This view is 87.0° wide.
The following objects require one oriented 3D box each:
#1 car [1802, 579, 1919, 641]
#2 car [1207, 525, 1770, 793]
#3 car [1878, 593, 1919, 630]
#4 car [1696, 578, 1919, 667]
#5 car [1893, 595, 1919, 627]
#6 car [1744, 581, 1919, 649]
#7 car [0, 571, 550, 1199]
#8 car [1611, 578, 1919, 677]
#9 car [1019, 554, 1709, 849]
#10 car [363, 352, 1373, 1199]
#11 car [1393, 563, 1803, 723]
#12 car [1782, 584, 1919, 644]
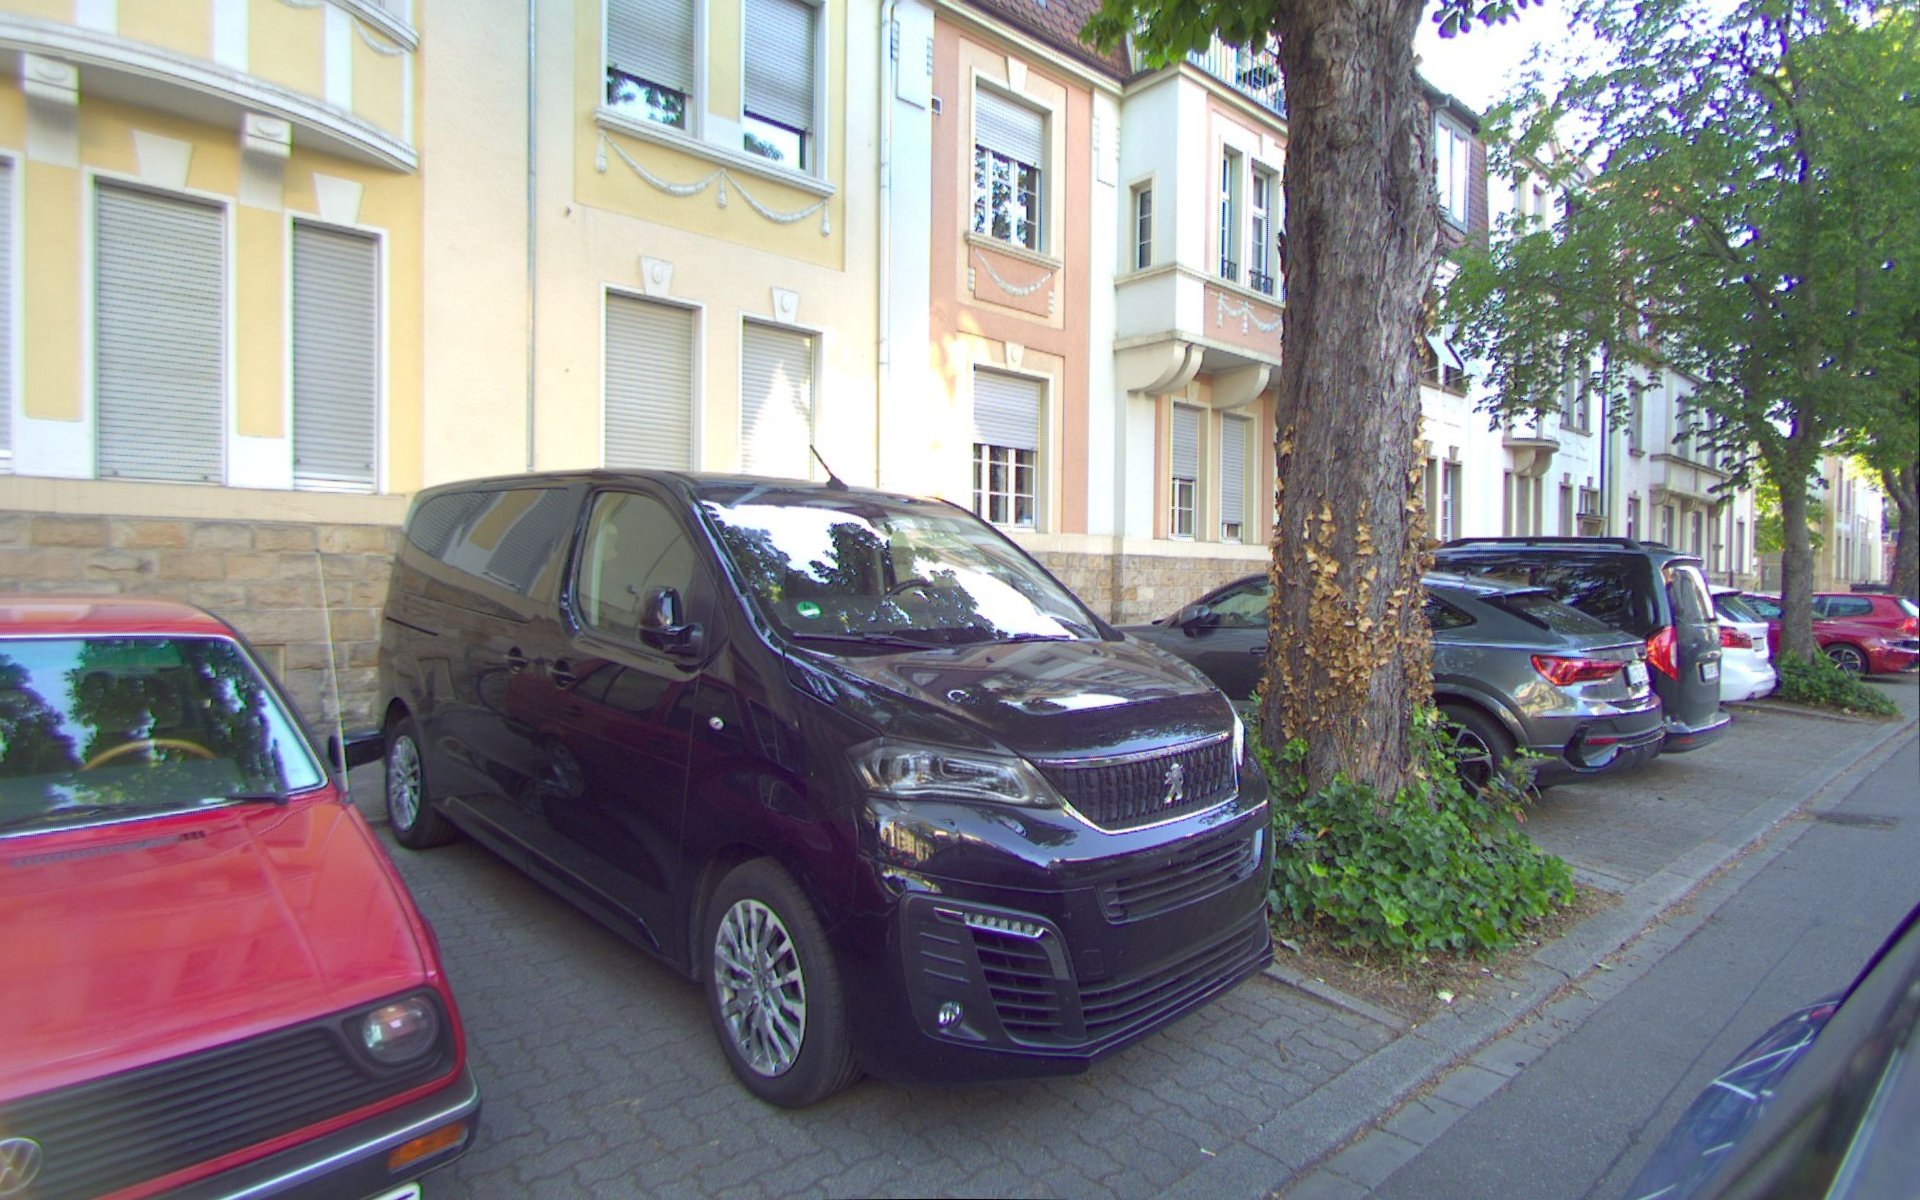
[{"bbox_3d":[25.873,0.265,28.034,1.548,1.576,3.681,0,3,-39],"label":"car"},{"bbox_3d":[4.520,0.314,9.148,1.813,1.860,4.116,0,3,-42],"label":"car"},{"bbox_3d":[31.898,0.421,32.469,1.515,1.164,3.400,0,3,-39],"label":"car"},{"bbox_3d":[16.897,0.375,19.821,1.628,1.499,3.682,0,3,-38],"label":"car"},{"bbox_3d":[34.278,0.423,34.532,1.515,1.076,3.400,0,3,-39],"label":"car"},{"bbox_3d":[21.855,0.325,24.976,1.548,1.484,3.681,0,3,-39],"label":"car"},{"bbox_3d":[-2.874,0.625,3.038,1.603,1.332,4.140,-1,3,-44],"label":"car"},{"bbox_3d":[14.787,0.402,18.465,1.833,1.470,4.533,0,3,-38],"label":"car"},{"bbox_3d":[2.736,0.463,7.696,1.815,1.542,4.513,-1,3,-44],"label":"car"},{"bbox_3d":[-0.938,0.324,4.478,1.867,1.897,4.753,-1,3,-44],"label":"car"},{"bbox_3d":[7.704,0.386,12.528,1.689,1.597,3.948,0,3,-41],"label":"car"},{"bbox_3d":[23.997,0.350,26.406,1.548,1.416,3.681,0,3,-39],"label":"car"}]
